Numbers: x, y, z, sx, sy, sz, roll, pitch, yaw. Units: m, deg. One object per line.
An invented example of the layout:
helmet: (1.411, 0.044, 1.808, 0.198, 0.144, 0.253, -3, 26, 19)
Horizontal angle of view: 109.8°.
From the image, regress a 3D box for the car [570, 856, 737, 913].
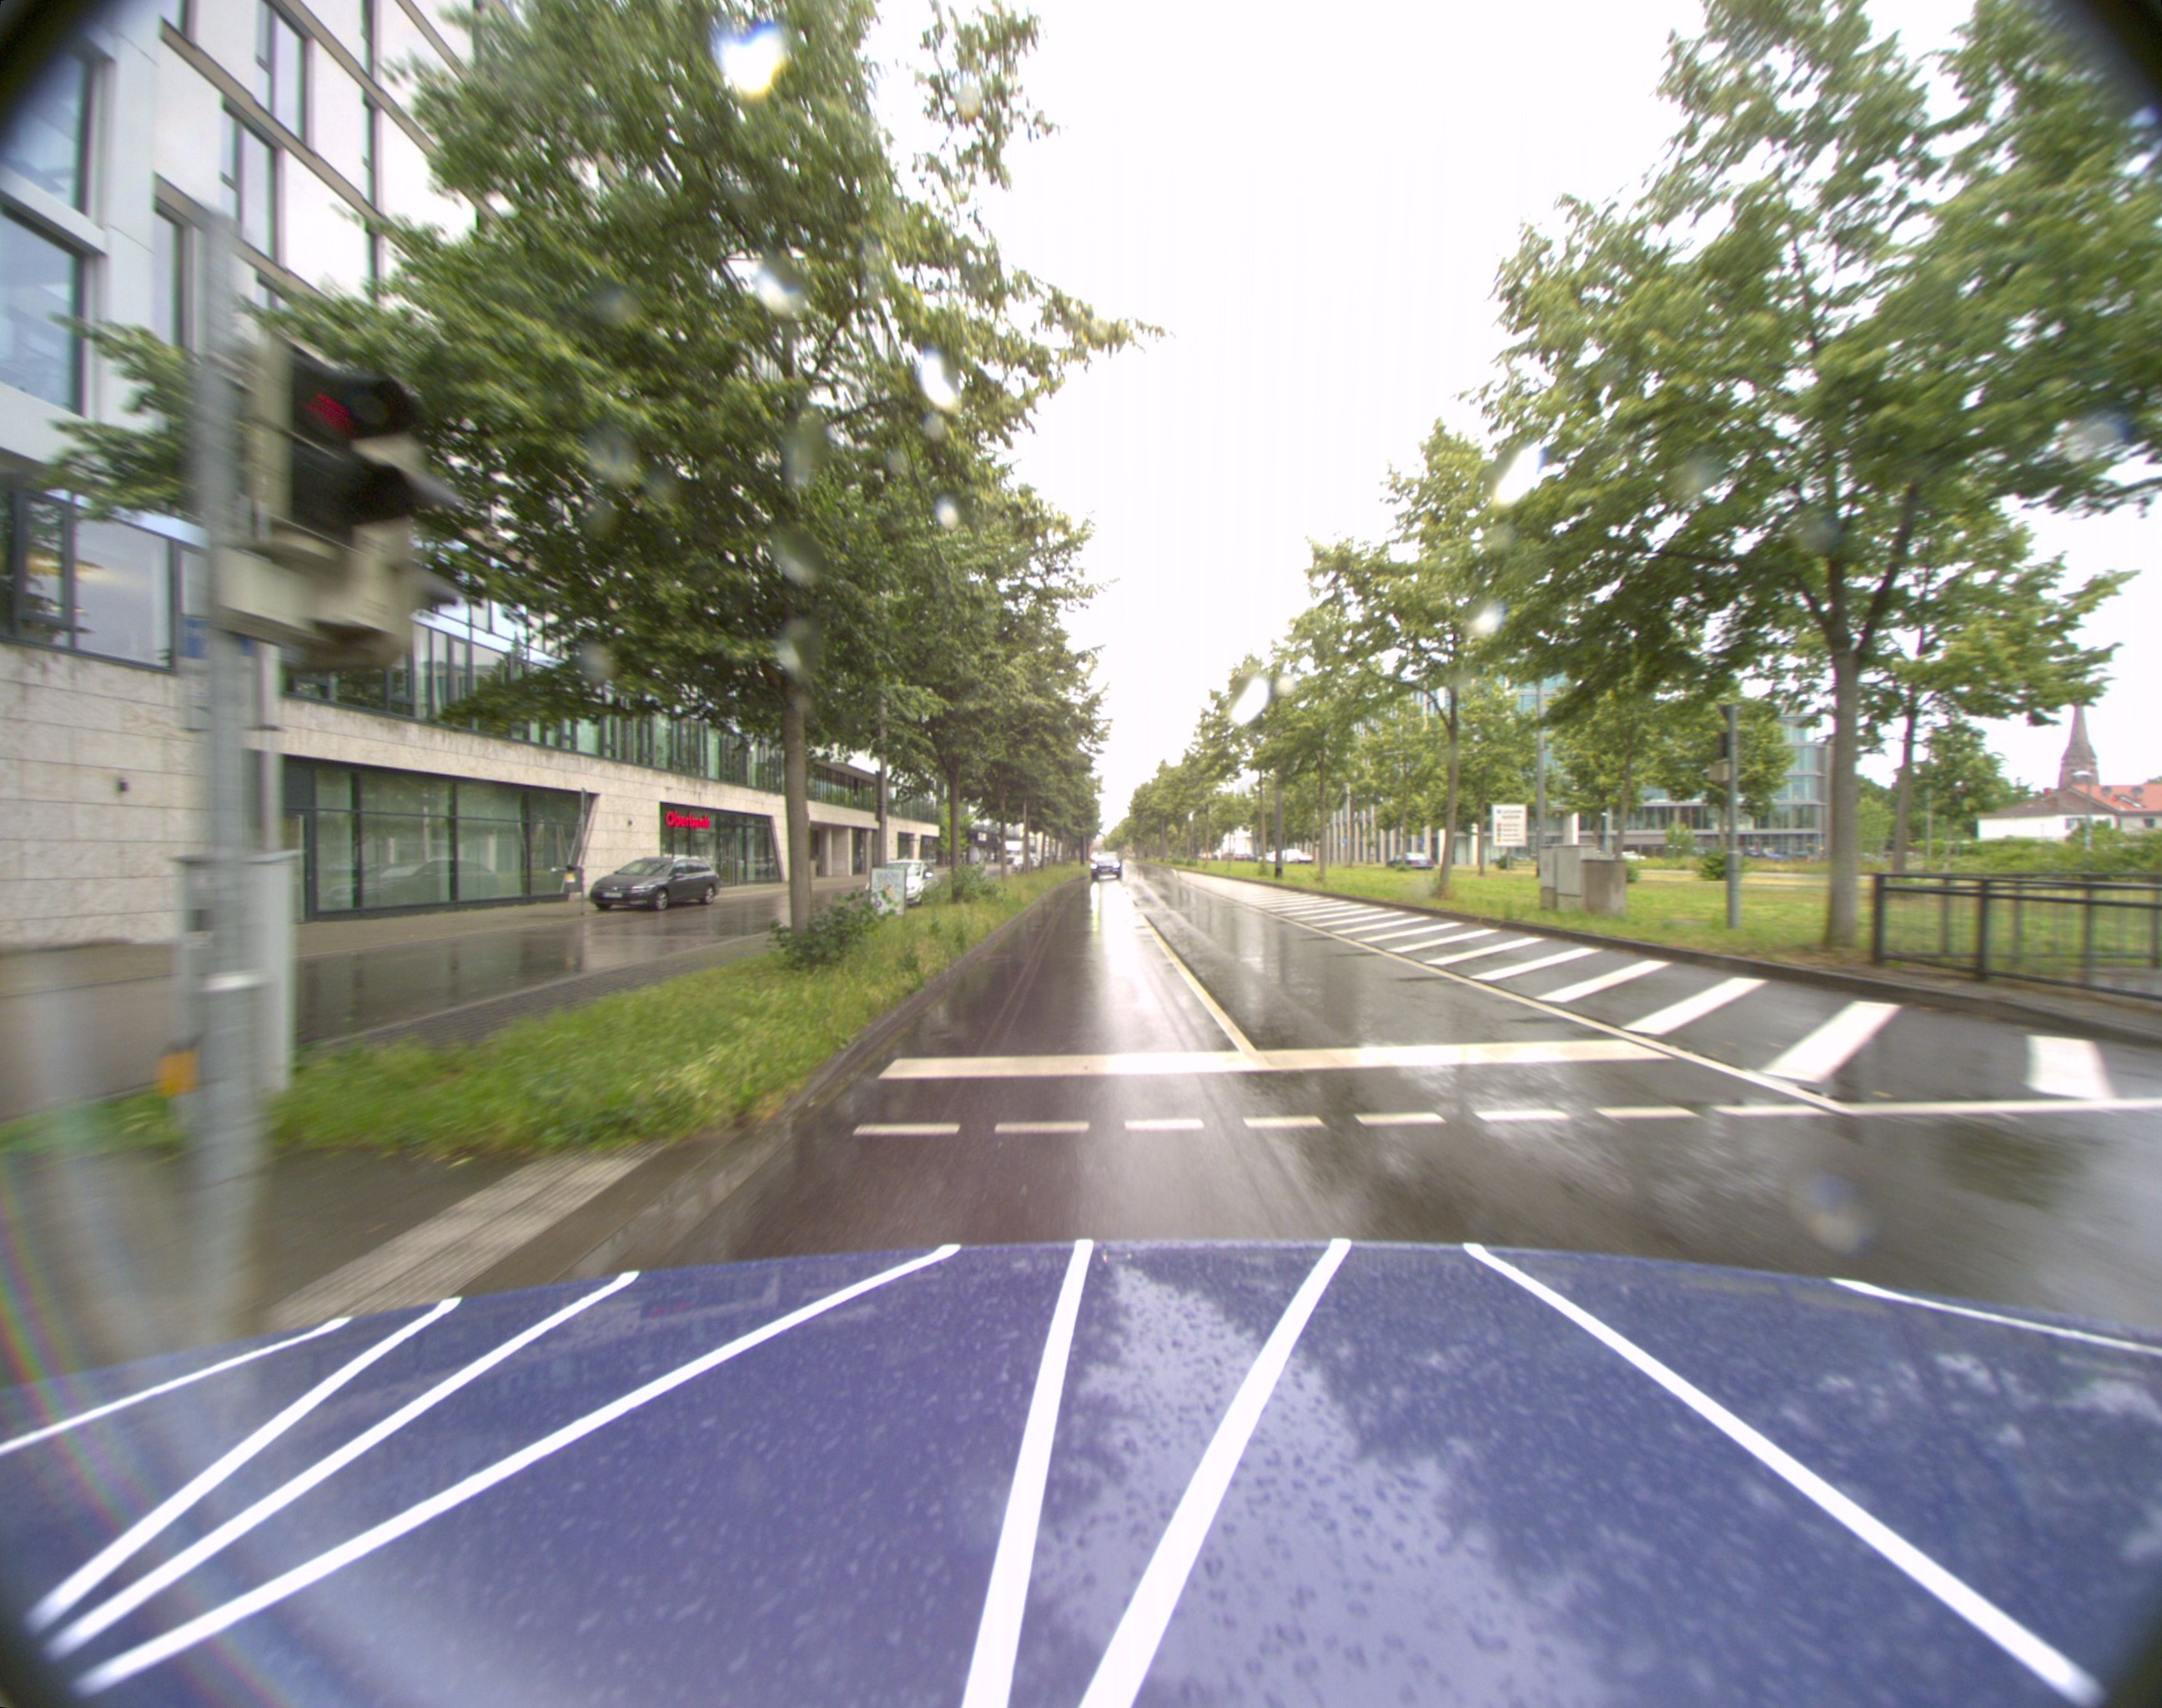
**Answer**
car: (-12.495, 0.839, 22.696, 1.998, 1.492, 5.035, 1, -1, 2)

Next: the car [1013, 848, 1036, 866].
car: (-4.732, 0.275, 63.949, 1.629, 1.482, 3.656, -1, -1, 0)

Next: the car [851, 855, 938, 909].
car: (-5.717, 0.867, 23.851, 1.886, 1.496, 4.723, -1, -2, -4)

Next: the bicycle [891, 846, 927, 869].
bicycle: (-13.612, 0.284, 60.211, 2.685, 1.850, 0.707, -1, 1, 6)

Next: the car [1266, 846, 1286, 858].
car: (27.685, -0.279, 108.209, 1.955, 1.452, 4.834, -1, -2, 5)

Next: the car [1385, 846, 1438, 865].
car: (23.429, 0.152, 54.018, 1.553, 1.258, 4.852, -1, -1, -1)

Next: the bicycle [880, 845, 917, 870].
bicycle: (-13.909, 0.268, 57.908, 2.685, 1.850, 0.707, -1, 1, 6)

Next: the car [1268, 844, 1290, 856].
car: (30.987, -0.644, 118.973, 1.956, 1.641, 5.031, -1, -2, -1)

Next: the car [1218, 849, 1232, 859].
car: (27.436, -0.042, 145.031, 1.955, 1.837, 4.544, -1, -1, 1)

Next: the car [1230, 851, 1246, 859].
car: (27.863, 0.184, 134.814, 1.955, 1.377, 4.606, -1, -2, 0)

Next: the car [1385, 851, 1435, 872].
car: (23.468, 0.485, 54.422, 1.492, 1.290, 4.976, -1, 1, 1)

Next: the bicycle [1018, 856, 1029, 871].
bicycle: (-3.351, 0.578, 44.287, 0.343, 0.817, 1.903, -1, -2, 5)

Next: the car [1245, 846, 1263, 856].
car: (28.137, -0.472, 123.872, 1.956, 1.485, 3.963, -1, -2, -1)

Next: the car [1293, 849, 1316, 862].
car: (30.277, 0.183, 103.012, 1.955, 1.739, 4.577, -1, 0, 4)

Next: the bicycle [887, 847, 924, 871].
bicycle: (-13.736, 0.420, 59.440, 2.685, 1.850, 0.707, -1, 1, 6)

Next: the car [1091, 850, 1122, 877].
car: (1.680, 0.576, 49.621, 1.928, 1.651, 4.716, 0, 0, 2)

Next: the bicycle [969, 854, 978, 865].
bicycle: (-11.244, 0.574, 79.675, 0.519, 1.124, 2.065, -1, 0, 4)

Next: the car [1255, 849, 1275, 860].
car: (27.853, 0.053, 114.861, 1.955, 1.504, 4.576, -1, 0, 1)

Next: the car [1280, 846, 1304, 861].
car: (30.813, -0.101, 111.109, 2.273, 1.994, 5.375, -1, -2, 2)

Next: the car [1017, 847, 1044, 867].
car: (-4.568, 0.314, 69.718, 1.998, 1.659, 4.725, -1, -2, 1)

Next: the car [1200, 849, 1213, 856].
car: (25.171, -0.313, 152.327, 1.955, 1.444, 4.576, -1, 0, 1)

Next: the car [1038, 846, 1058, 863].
car: (-4.009, 0.080, 93.424, 1.998, 1.940, 5.031, -1, -2, 2)

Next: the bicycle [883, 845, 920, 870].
bicycle: (-13.836, 0.263, 58.653, 2.685, 1.850, 0.707, -1, 1, 6)

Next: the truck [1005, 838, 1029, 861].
truck: (-9.830, -0.688, 117.237, 3.032, 3.421, 8.546, -1, 0, -2)
